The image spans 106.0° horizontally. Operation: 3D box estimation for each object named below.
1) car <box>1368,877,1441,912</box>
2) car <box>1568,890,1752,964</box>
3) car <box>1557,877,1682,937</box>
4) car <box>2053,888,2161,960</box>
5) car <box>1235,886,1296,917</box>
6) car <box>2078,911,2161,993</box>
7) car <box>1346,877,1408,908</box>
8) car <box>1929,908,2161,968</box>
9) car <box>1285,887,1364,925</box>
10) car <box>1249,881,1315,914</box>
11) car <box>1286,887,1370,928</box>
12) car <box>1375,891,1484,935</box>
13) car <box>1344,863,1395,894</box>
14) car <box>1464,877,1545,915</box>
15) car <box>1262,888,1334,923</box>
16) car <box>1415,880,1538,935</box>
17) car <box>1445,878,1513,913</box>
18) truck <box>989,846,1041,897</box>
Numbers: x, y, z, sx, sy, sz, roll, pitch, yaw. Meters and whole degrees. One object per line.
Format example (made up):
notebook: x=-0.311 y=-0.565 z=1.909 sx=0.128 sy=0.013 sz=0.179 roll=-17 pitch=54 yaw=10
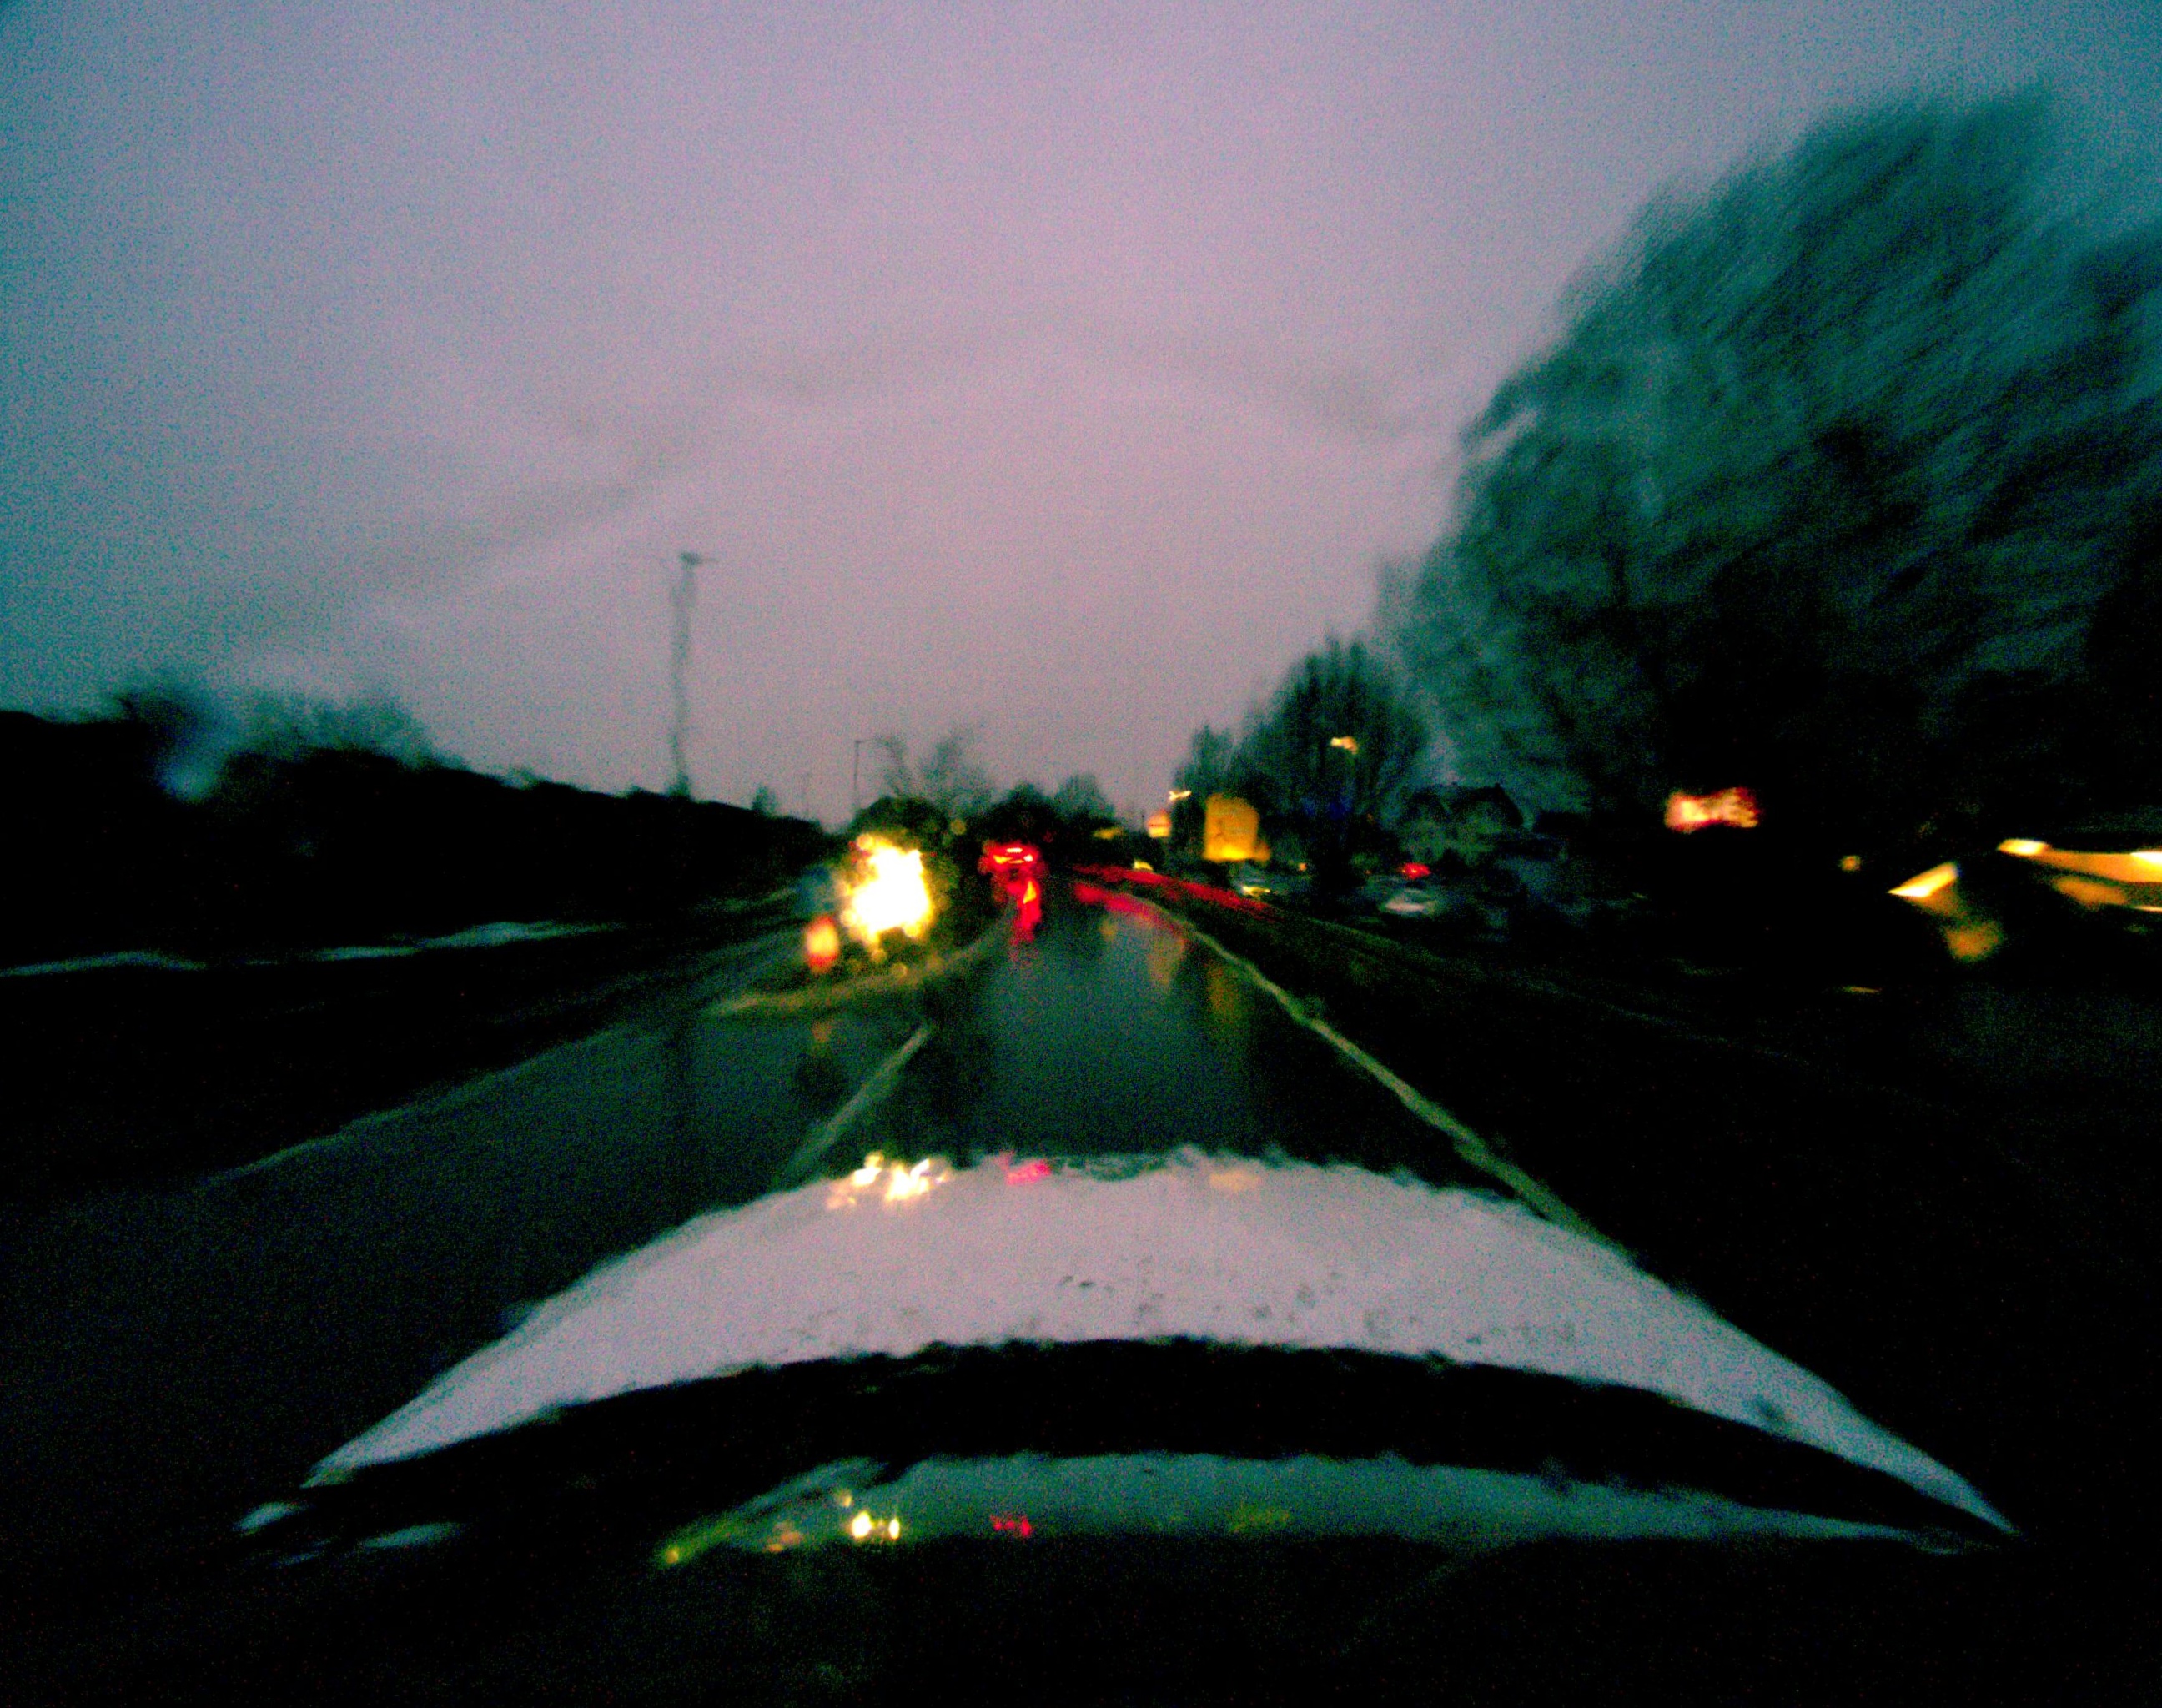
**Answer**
car: x=22.227 y=2.777 z=56.026 sx=4.309 sy=2.379 sz=2.113 roll=-1 pitch=-4 yaw=35
car: x=16.995 y=2.109 z=24.122 sx=3.962 sy=2.014 sz=2.005 roll=0 pitch=-3 yaw=10
car: x=23.026 y=2.227 z=34.915 sx=4.309 sy=2.379 sz=2.113 roll=-1 pitch=-4 yaw=35
car: x=30.184 y=1.922 z=22.172 sx=4.309 sy=1.918 sz=2.113 roll=-1 pitch=-4 yaw=35
car: x=12.398 y=3.188 z=54.910 sx=3.962 sy=2.014 sz=2.005 roll=0 pitch=-3 yaw=10
car: x=25.431 y=2.174 z=17.722 sx=4.309 sy=1.767 sz=2.113 roll=-2 pitch=-4 yaw=38
car: x=22.906 y=2.980 z=63.070 sx=4.311 sy=2.379 sz=2.112 roll=-1 pitch=-4 yaw=26
car: x=25.340 y=2.126 z=21.180 sx=4.309 sy=1.350 sz=2.113 roll=-2 pitch=-4 yaw=40
car: x=13.356 y=2.856 z=44.922 sx=3.962 sy=2.014 sz=2.005 roll=0 pitch=-3 yaw=10
car: x=12.783 y=2.757 z=51.956 sx=3.962 sy=2.014 sz=2.005 roll=0 pitch=-3 yaw=10
car: x=12.692 y=2.737 z=42.076 sx=3.962 sy=2.014 sz=2.005 roll=0 pitch=-3 yaw=10
car: x=14.933 y=2.507 z=35.116 sx=3.962 sy=1.794 sz=2.005 roll=0 pitch=-3 yaw=10
car: x=27.221 y=2.326 z=76.746 sx=4.311 sy=2.758 sz=2.112 roll=-1 pitch=-4 yaw=26
car: x=27.020 y=2.665 z=52.049 sx=4.309 sy=2.379 sz=2.113 roll=-1 pitch=-4 yaw=35
car: x=12.880 y=3.041 z=48.562 sx=3.962 sy=2.014 sz=2.005 roll=0 pitch=-3 yaw=10
car: x=15.438 y=2.089 z=32.017 sx=3.962 sy=2.014 sz=2.005 roll=0 pitch=-3 yaw=10
car: x=28.377 y=2.959 z=58.149 sx=4.311 sy=2.379 sz=2.112 roll=-1 pitch=-4 yaw=26
truck: x=-4.137 y=0.986 z=50.083 sx=2.532 sy=2.869 sz=5.901 roll=1 pitch=0 yaw=-11
